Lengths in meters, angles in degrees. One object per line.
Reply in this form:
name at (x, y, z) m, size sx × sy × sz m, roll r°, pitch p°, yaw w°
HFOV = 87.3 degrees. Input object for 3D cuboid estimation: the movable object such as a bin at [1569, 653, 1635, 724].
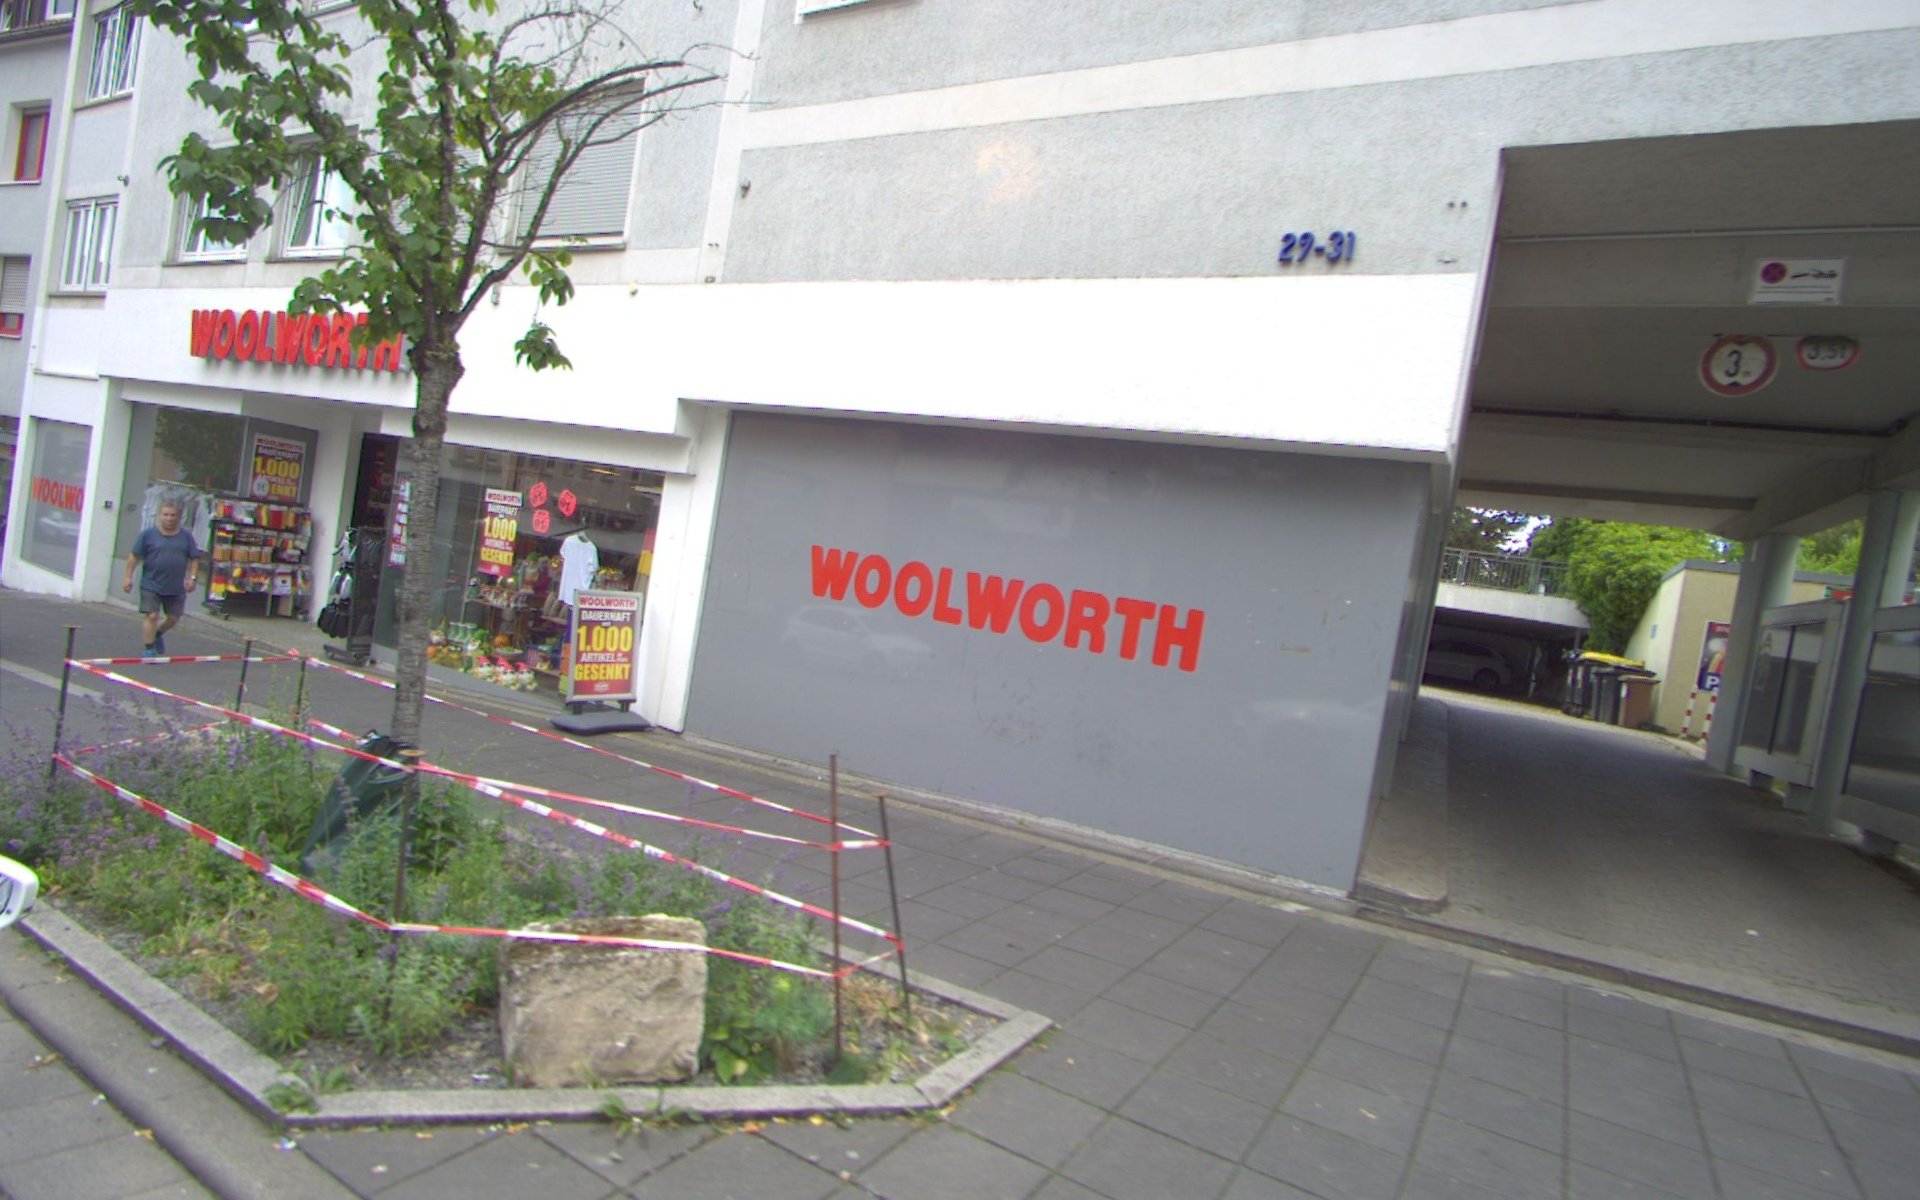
movable object such as a bin at (13.475, 1.844, 21.154) m, size 1.014 × 1.330 × 0.899 m, roll 7°, pitch 2°, yaw 31°

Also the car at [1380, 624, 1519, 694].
car at (17.445, 2.067, 36.090) m, size 4.160 × 1.723 × 1.811 m, roll 9°, pitch 4°, yaw 23°

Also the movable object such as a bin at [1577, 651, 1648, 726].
movable object such as a bin at (13.071, 1.753, 20.193) m, size 1.014 × 1.330 × 0.899 m, roll 7°, pitch 2°, yaw 31°

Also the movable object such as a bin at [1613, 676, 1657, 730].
movable object such as a bin at (11.907, 1.810, 17.755) m, size 0.537 × 0.872 × 0.511 m, roll 7°, pitch 2°, yaw 31°

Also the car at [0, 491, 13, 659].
car at (-10.714, -0.382, 9.250) m, size 3.734 × 1.517 × 1.750 m, roll 5°, pitch 1°, yaw 27°

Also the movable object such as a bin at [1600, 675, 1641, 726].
movable object such as a bin at (12.307, 1.865, 18.760) m, size 0.537 × 0.872 × 0.424 m, roll 7°, pitch 2°, yaw 31°

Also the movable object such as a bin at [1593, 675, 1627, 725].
movable object such as a bin at (12.508, 1.917, 19.360) m, size 0.453 × 0.872 × 0.372 m, roll 7°, pitch 2°, yaw 31°

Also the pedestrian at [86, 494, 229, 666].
pedestrian at (-7.947, -0.187, 9.973) m, size 0.803 × 1.580 × 0.757 m, roll 7°, pitch 1°, yaw 29°

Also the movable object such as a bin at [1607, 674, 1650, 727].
movable object such as a bin at (12.124, 1.808, 18.259) m, size 0.537 × 0.872 × 0.431 m, roll 7°, pitch 2°, yaw 31°
